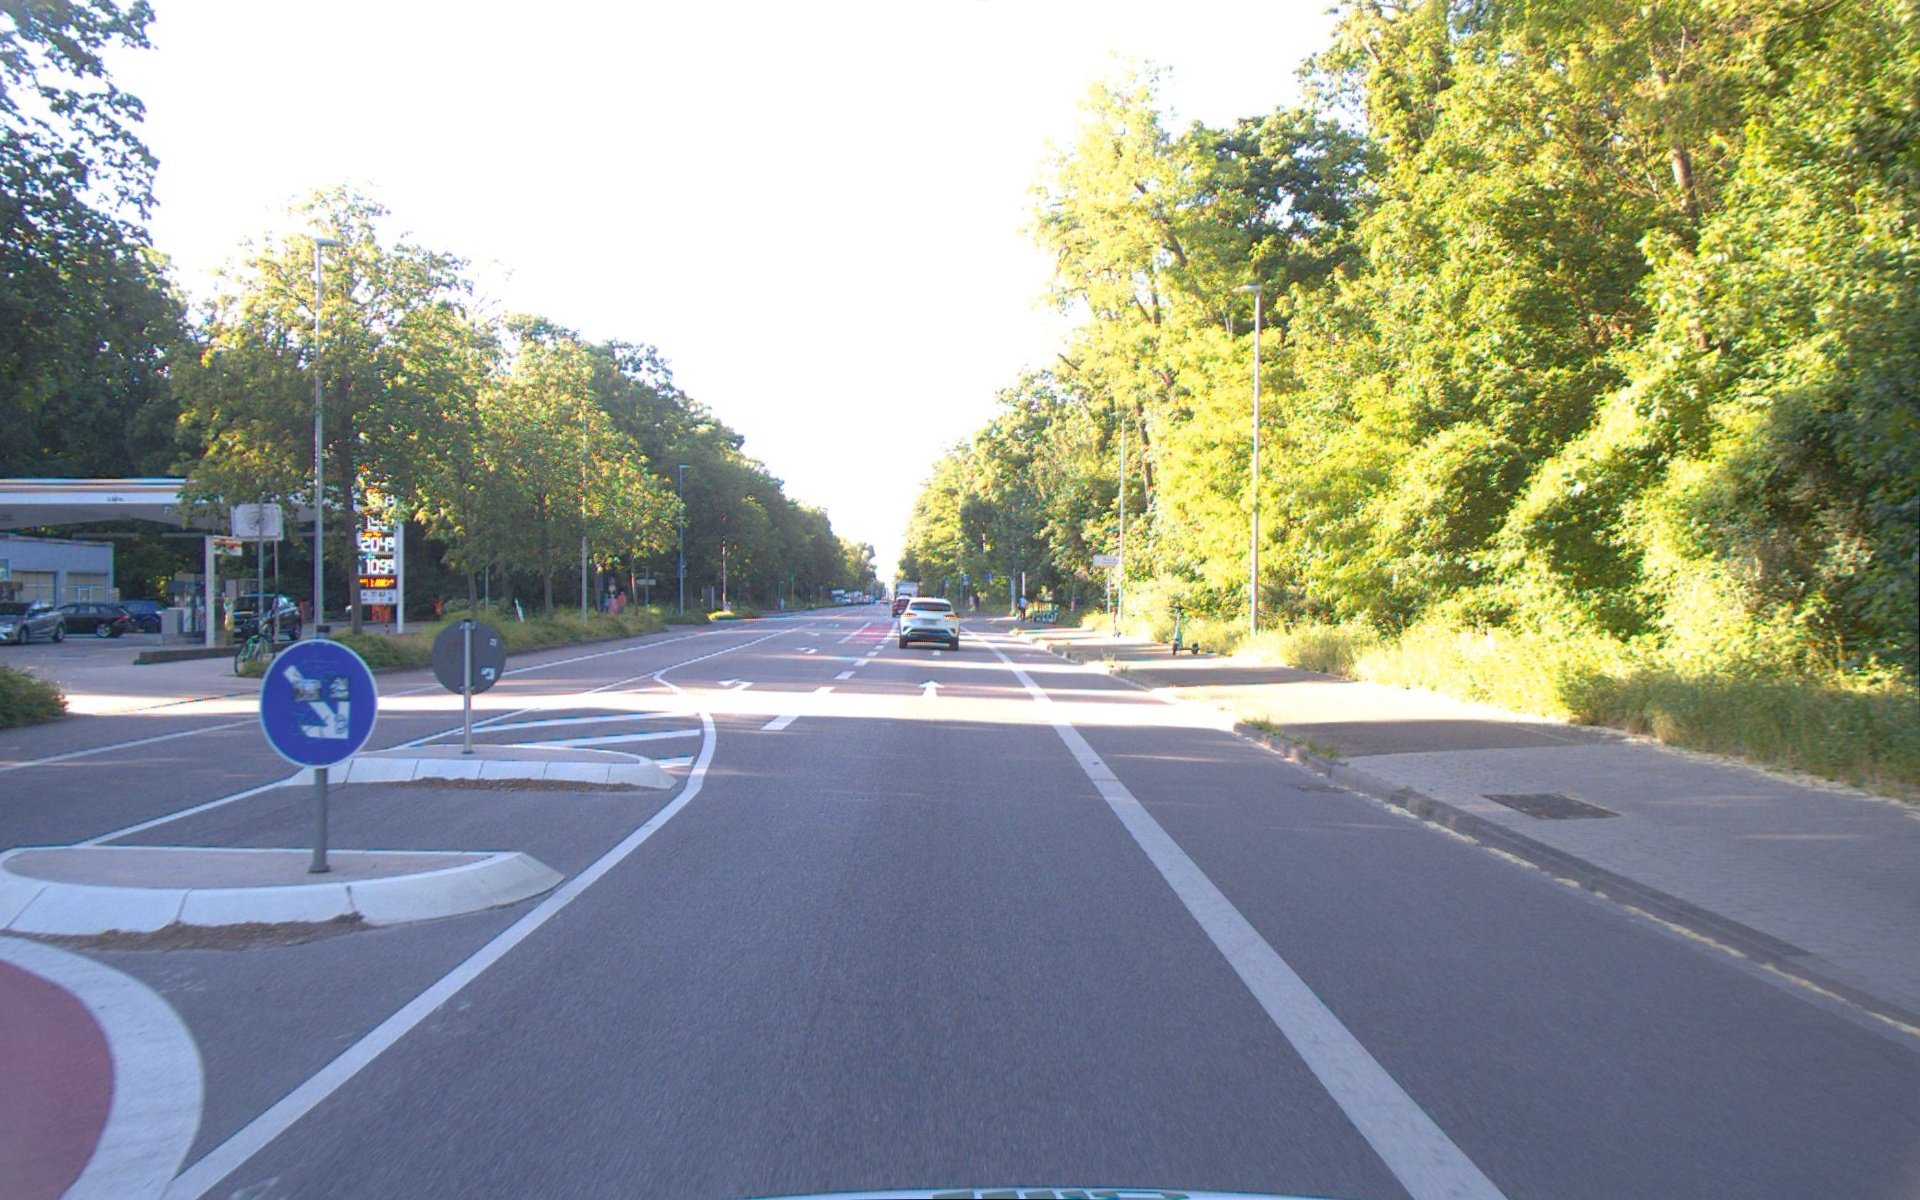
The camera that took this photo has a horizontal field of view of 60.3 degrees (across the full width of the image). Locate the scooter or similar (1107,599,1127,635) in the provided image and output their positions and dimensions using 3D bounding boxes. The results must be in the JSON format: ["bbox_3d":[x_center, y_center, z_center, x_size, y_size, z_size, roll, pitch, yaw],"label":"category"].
[{"bbox_3d":[5.651,0.604,59.745,0.522,1.272,1.541,0,0,-2],"label":"scooter or similar"}]

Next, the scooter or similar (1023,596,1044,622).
[{"bbox_3d":[4.137,0.487,93.174,0.671,1.448,1.673,0,0,-17],"label":"scooter or similar"}]

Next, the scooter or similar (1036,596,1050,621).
[{"bbox_3d":[4.729,0.472,94.505,0.668,1.448,1.681,0,0,-2],"label":"scooter or similar"}]

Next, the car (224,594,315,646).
[{"bbox_3d":[-23.907,0.675,57.412,1.677,1.721,4.448,-1,0,-6],"label":"car"}]

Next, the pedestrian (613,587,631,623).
[{"bbox_3d":[-19.193,0.275,93.934,0.703,2.049,0.746,-1,0,29],"label":"pedestrian"}]

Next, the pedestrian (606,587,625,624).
[{"bbox_3d":[-19.071,0.282,91.612,0.791,2.049,0.708,0,0,-43],"label":"pedestrian"}]

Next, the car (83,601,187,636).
[{"bbox_3d":[-38.595,0.847,77.419,3.911,1.582,1.896,-1,0,-7],"label":"car"}]

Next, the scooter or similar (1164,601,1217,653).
[{"bbox_3d":[5.838,0.679,41.894,0.526,1.272,1.530,-1,0,45],"label":"scooter or similar"}]

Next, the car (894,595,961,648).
[{"bbox_3d":[-1.036,0.622,50.151,1.727,1.485,3.813,1,0,-5],"label":"car"}]

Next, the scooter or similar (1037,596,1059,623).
[{"bbox_3d":[4.767,0.488,89.442,0.671,1.448,1.675,0,0,-15],"label":"scooter or similar"}]

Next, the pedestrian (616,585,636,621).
[{"bbox_3d":[-18.948,0.187,93.906,0.703,2.049,0.873,-1,0,29],"label":"pedestrian"}]

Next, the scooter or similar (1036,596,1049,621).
[{"bbox_3d":[4.784,0.506,96.020,0.667,1.448,1.246,0,0,6],"label":"scooter or similar"}]

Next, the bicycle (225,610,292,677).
[{"bbox_3d":[-14.131,0.855,33.371,0.642,1.272,2.156,-1,0,-7],"label":"bicycle"}]

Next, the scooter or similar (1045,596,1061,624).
[{"bbox_3d":[4.824,0.502,85.492,0.668,1.448,1.681,0,0,-2],"label":"scooter or similar"}]

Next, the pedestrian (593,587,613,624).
[{"bbox_3d":[-19.658,0.303,91.070,0.791,2.049,0.708,0,0,-43],"label":"pedestrian"}]

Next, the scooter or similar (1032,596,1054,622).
[{"bbox_3d":[4.587,0.486,91.509,0.671,1.448,1.673,0,0,-17],"label":"scooter or similar"}]

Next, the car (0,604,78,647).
[{"bbox_3d":[-31.951,0.845,56.463,1.676,1.400,4.058,-1,0,-3],"label":"car"}]

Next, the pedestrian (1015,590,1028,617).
[{"bbox_3d":[3.676,0.191,99.046,0.739,1.591,0.802,-1,0,3],"label":"pedestrian"}]

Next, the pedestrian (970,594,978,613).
[{"bbox_3d":[1.269,0.323,154.740,0.684,1.682,0.876,-1,0,-3],"label":"pedestrian"}]

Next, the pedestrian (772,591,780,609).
[{"bbox_3d":[-21.634,-0.031,194.694,0.846,2.049,1.269,-1,0,-1],"label":"pedestrian"}]

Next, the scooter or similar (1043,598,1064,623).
[{"bbox_3d":[4.941,0.557,87.350,0.459,1.329,1.470,0,0,-23],"label":"scooter or similar"}]

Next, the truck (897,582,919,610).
[{"bbox_3d":[-7.149,-0.559,227.002,2.744,3.632,8.029,1,0,-3],"label":"truck"}]

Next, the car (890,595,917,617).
[{"bbox_3d":[-4.190,0.441,123.642,1.953,1.545,3.999,0,0,-1],"label":"car"}]

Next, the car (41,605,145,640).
[{"bbox_3d":[-36.108,0.942,68.953,3.563,1.377,1.708,-1,0,-17],"label":"car"}]
